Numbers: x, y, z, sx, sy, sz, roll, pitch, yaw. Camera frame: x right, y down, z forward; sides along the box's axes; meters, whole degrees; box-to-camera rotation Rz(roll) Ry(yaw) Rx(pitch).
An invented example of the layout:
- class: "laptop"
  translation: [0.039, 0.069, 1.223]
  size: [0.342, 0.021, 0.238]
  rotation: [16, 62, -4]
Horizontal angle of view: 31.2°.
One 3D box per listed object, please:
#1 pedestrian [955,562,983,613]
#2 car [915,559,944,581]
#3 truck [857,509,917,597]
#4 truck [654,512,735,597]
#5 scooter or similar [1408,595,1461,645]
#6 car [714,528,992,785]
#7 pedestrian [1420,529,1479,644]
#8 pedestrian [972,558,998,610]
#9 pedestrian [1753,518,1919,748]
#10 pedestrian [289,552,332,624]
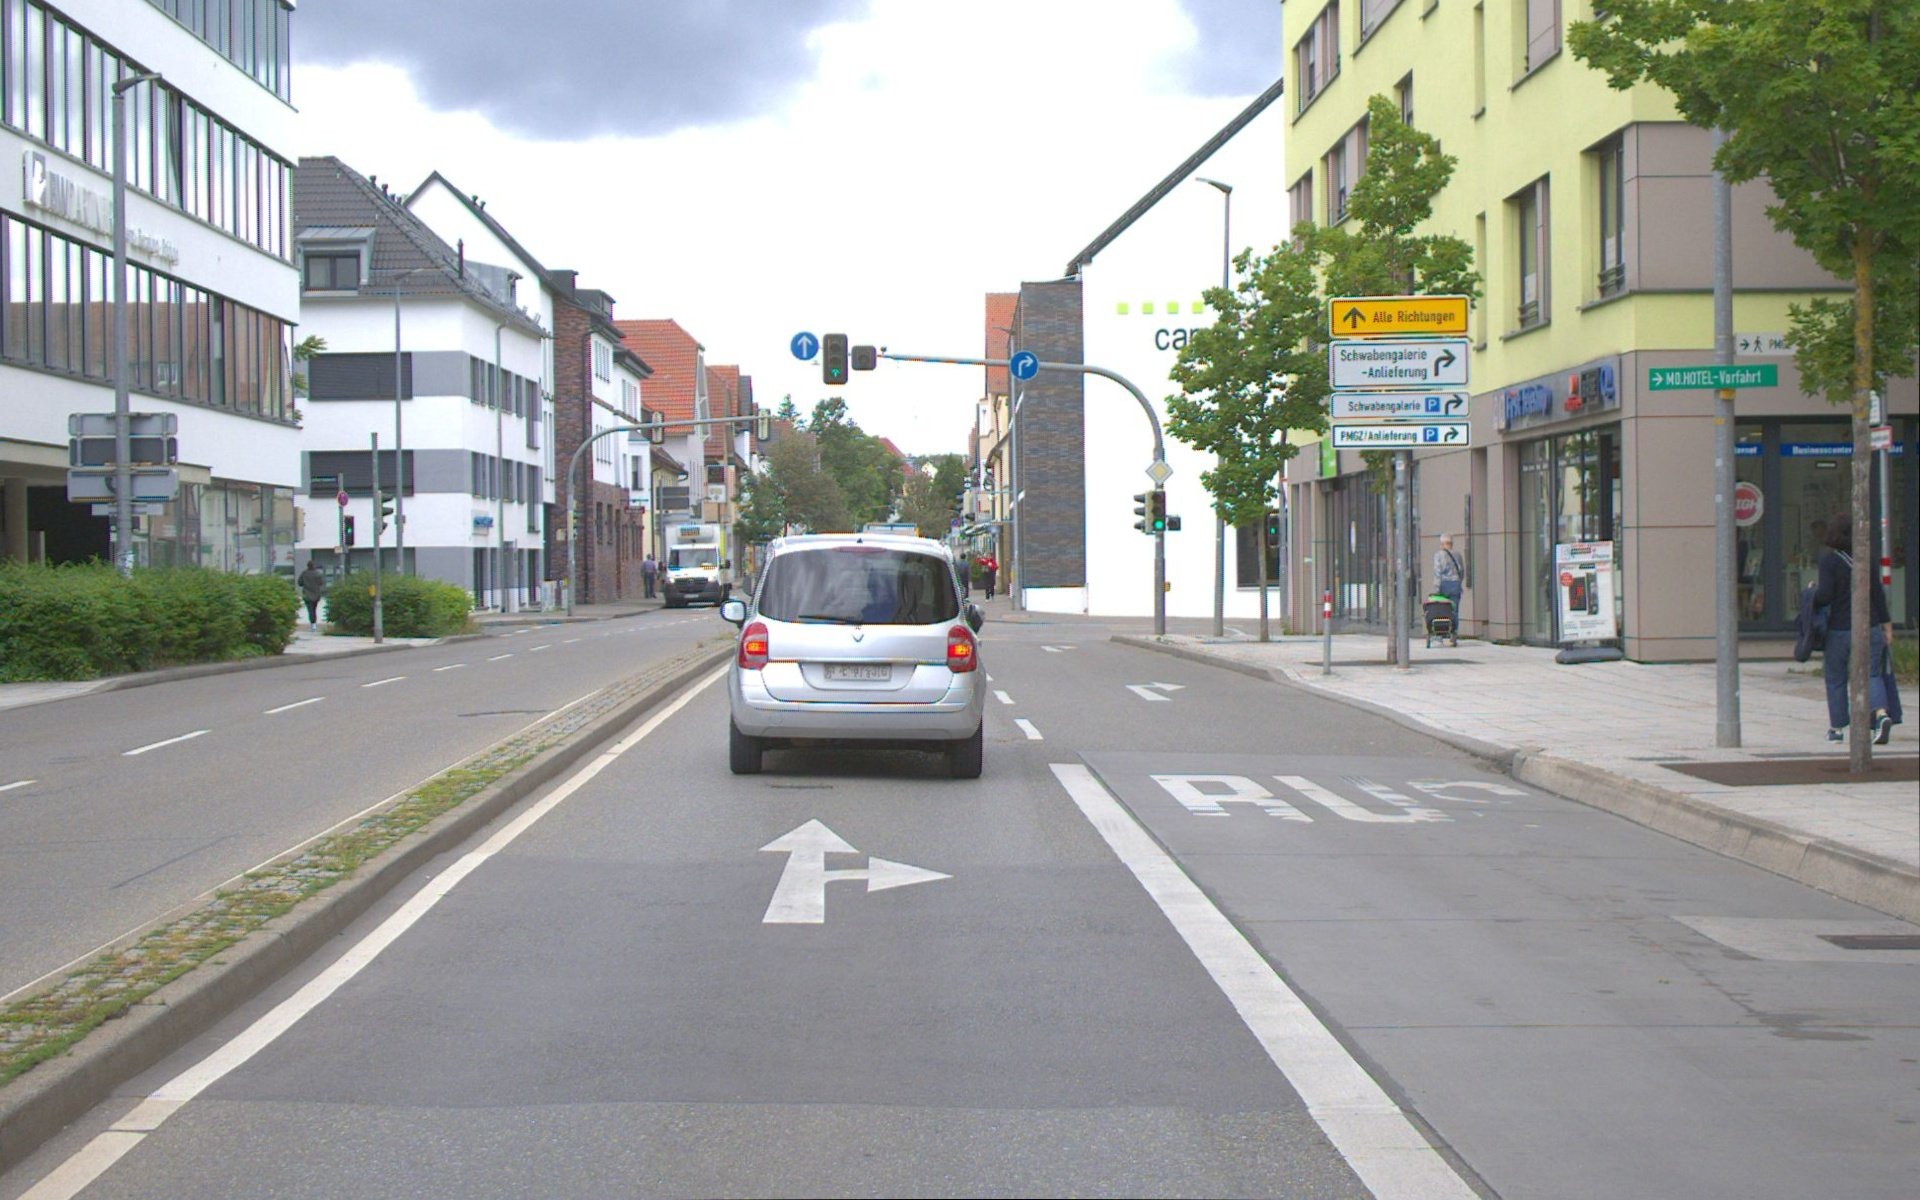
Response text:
- class: "pedestrian"
  translation: [0.326, -0.444, 122.028]
  size: [0.889, 1.781, 0.785]
  rotation: [-3, 1, 0]
- class: "car"
  translation: [-1.990, -1.977, 225.261]
  size: [1.812, 1.349, 4.000]
  rotation: [-1, 1, 0]
- class: "truck"
  translation: [-3.227, -2.113, 153.312]
  size: [2.595, 3.844, 6.849]
  rotation: [0, 1, -1]
- class: "truck"
  translation: [-9.622, -1.648, 125.223]
  size: [2.435, 2.943, 8.365]
  rotation: [1, 1, -1]
- class: "scooter or similar"
  translation: [6.605, 0.278, 47.860]
  size: [0.592, 0.670, 0.824]
  rotation: [-1, 1, -2]
- class: "car"
  translation: [-0.716, 0.332, 23.655]
  size: [1.706, 1.573, 4.000]
  rotation: [1, 1, -1]
- class: "pedestrian"
  translation: [6.911, -0.192, 48.571]
  size: [0.695, 1.588, 0.603]
  rotation: [-1, 1, -2]
- class: "pedestrian"
  translation: [0.861, -0.556, 119.453]
  size: [0.807, 1.781, 0.861]
  rotation: [-3, 1, 0]
- class: "pedestrian"
  translation: [6.186, 0.220, 24.194]
  size: [0.947, 1.578, 1.016]
  rotation: [0, 0, -2]
- class: "pedestrian"
  translation: [-15.455, -0.294, 81.774]
  size: [0.881, 1.664, 0.814]
  rotation: [-1, 3, -20]
